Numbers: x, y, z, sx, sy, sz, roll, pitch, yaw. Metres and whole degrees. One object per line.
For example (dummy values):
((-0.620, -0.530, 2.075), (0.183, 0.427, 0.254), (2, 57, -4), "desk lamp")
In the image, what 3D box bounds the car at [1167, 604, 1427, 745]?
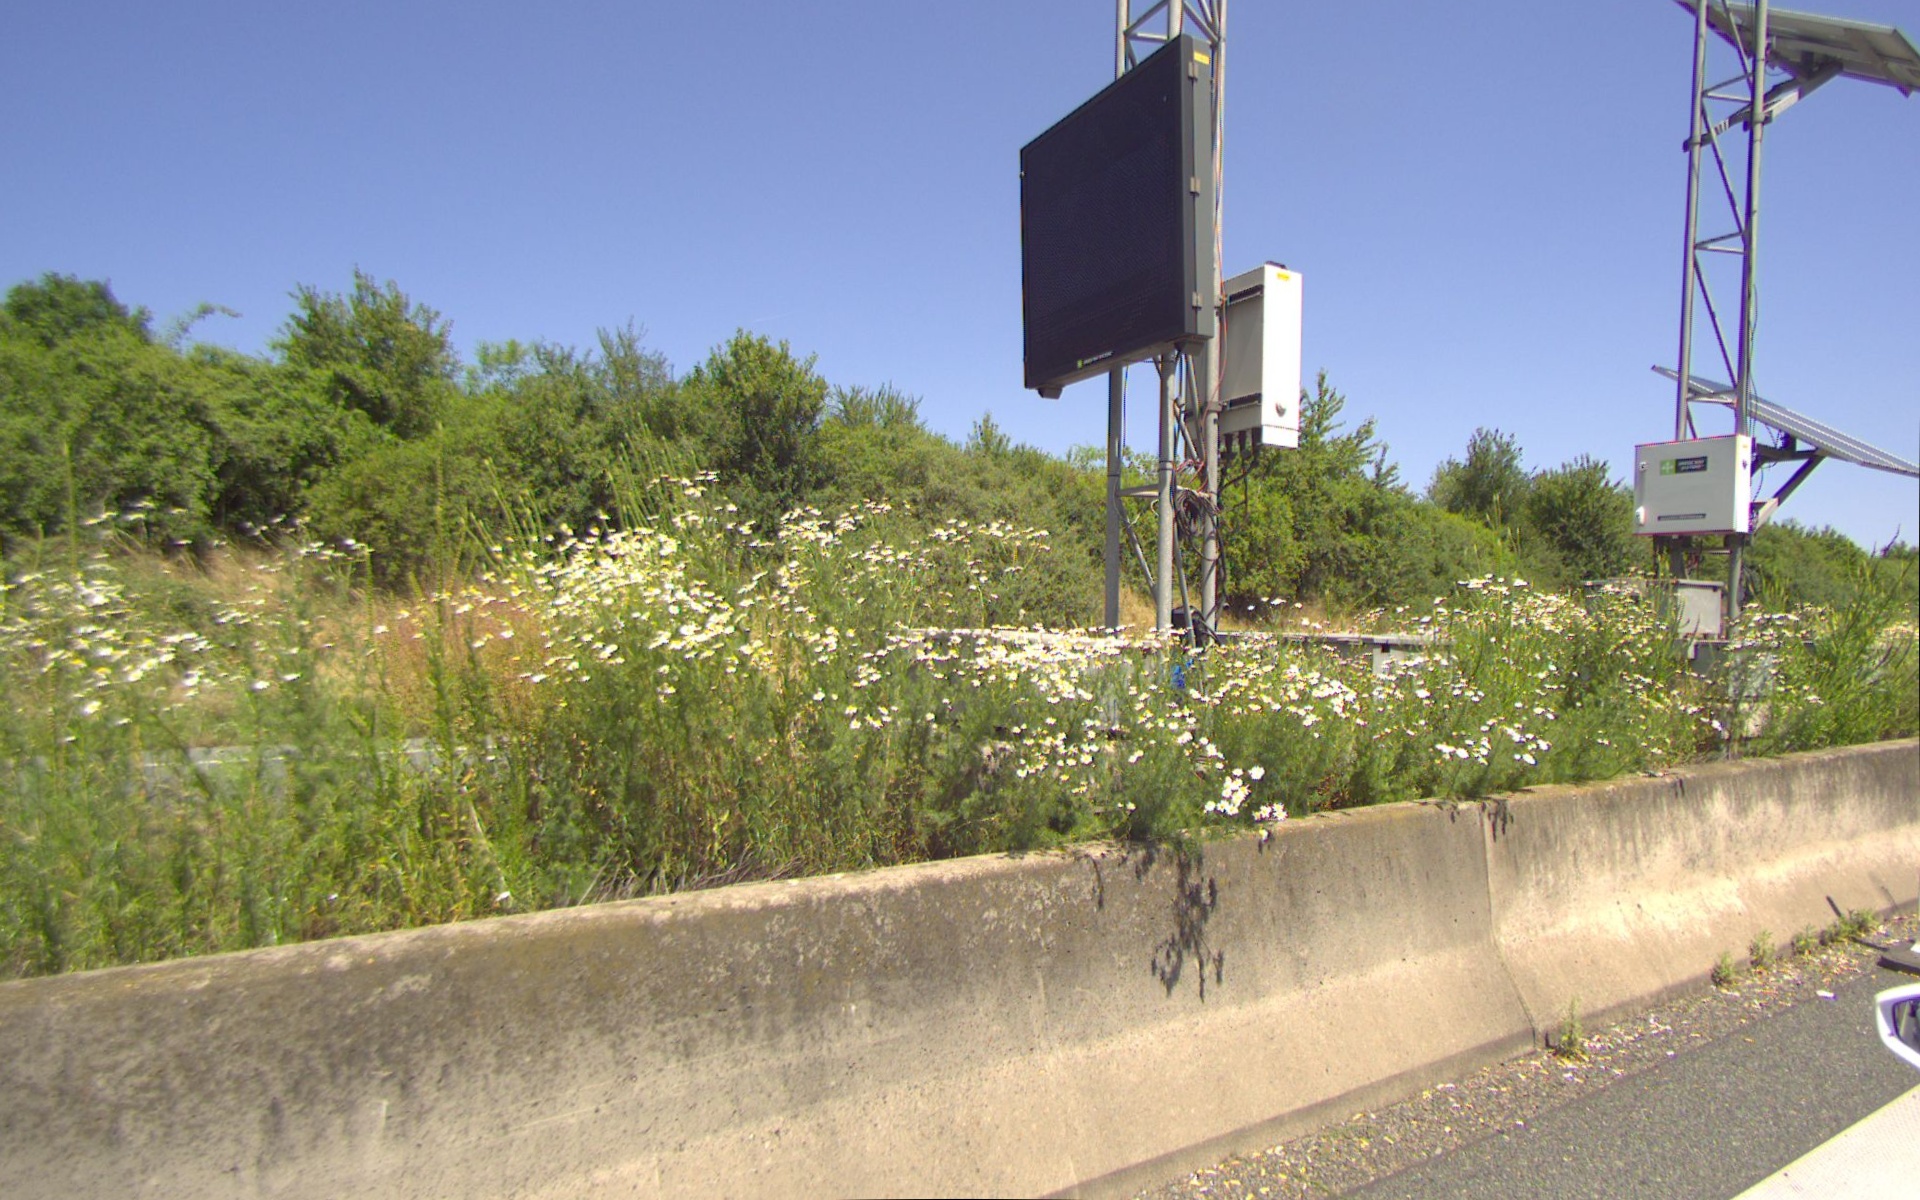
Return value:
((5.483, 1.138, 16.282), (3.953, 2.040, 1.873), (1, -2, -30), "car")
